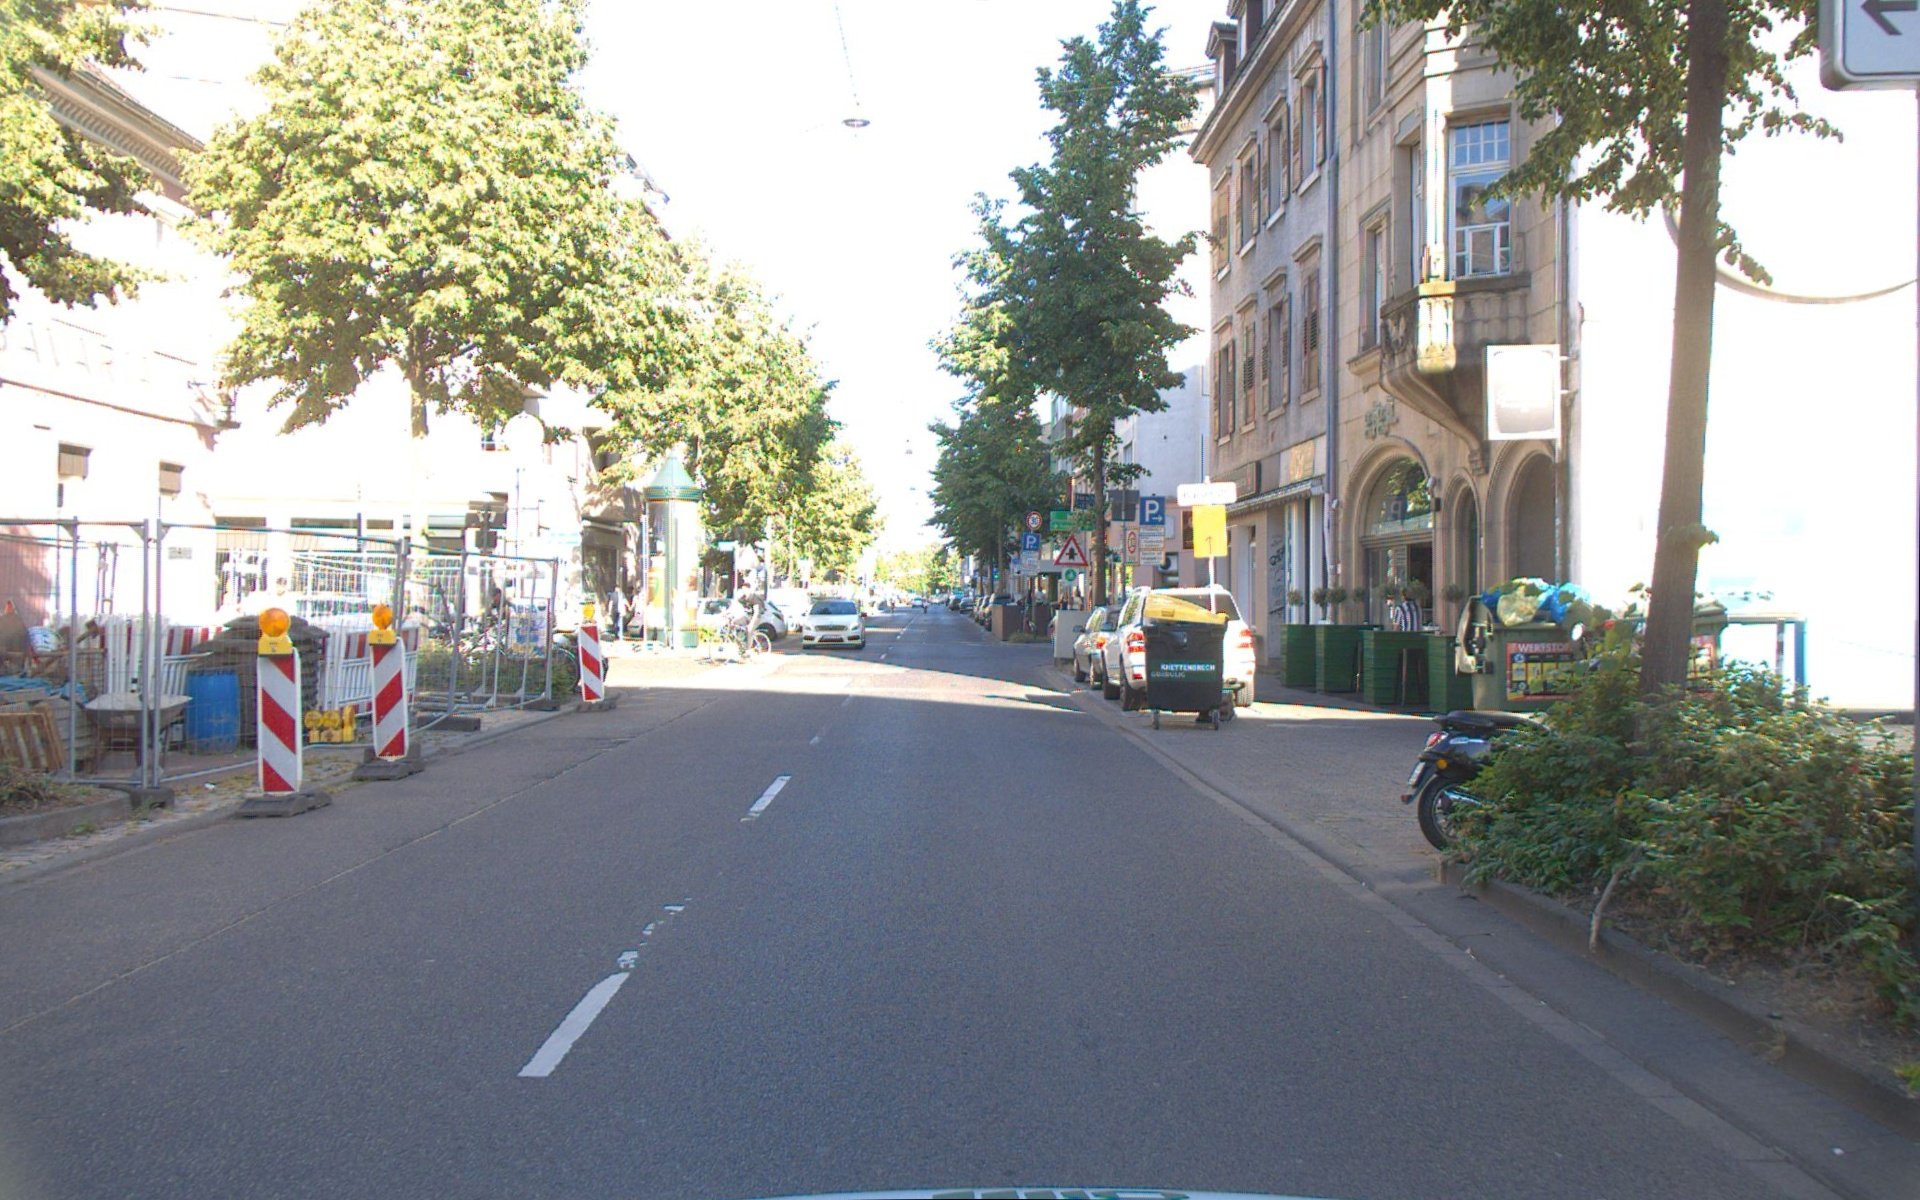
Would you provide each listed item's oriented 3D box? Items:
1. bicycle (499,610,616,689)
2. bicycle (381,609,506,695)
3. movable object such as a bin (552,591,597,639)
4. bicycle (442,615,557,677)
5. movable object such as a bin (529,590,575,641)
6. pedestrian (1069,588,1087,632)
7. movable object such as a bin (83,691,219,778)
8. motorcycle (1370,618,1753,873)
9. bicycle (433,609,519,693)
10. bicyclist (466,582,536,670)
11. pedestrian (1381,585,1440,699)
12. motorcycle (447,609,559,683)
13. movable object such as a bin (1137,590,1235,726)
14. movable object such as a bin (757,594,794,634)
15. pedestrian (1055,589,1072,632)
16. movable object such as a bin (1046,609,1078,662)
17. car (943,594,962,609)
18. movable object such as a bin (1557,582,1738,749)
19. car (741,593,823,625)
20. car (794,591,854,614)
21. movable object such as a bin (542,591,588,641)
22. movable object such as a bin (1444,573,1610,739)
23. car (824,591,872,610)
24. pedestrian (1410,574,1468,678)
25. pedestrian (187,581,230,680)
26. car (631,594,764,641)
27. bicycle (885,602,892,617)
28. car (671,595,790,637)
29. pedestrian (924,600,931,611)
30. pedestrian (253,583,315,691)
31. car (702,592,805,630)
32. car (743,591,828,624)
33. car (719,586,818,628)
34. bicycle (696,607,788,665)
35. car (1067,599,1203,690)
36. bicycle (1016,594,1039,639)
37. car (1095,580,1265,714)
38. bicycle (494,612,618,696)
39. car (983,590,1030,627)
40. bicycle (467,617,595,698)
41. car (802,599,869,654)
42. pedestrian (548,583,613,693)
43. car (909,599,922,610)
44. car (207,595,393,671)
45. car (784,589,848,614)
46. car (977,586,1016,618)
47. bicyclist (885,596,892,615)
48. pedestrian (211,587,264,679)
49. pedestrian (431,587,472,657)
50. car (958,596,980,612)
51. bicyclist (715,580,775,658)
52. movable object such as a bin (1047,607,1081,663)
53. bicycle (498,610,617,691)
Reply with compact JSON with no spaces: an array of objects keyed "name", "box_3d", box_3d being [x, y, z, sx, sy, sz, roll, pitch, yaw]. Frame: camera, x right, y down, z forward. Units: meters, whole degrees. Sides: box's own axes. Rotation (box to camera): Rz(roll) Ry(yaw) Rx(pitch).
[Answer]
[{"name":"bicycle","box_3d":[-6.695,0.824,27.562,1.820,1.274,0.599,1,0,-9]},{"name":"bicycle","box_3d":[-8.017,0.794,25.702,1.749,1.274,0.601,1,0,10]},{"name":"movable object such as a bin","box_3d":[-12.251,0.461,52.600,1.148,1.511,1.314,0,0,-3]},{"name":"bicycle","box_3d":[-8.484,0.829,30.512,1.941,1.077,0.756,-1,0,-45]},{"name":"movable object such as a bin","box_3d":[-12.206,0.456,49.515,1.117,1.511,1.235,0,0,-3]},{"name":"pedestrian","box_3d":[4.600,0.391,64.469,0.536,1.678,0.663,0,0,-9]},{"name":"movable object such as a bin","box_3d":[-6.740,1.111,13.822,0.615,0.627,1.077,-1,0,-1]},{"name":"motorcycle","box_3d":[3.498,0.798,9.686,1.943,1.353,0.908,0,0,-14]},{"name":"bicycle","box_3d":[-7.861,0.803,26.806,0.595,1.274,1.765,1,0,-43]},{"name":"bicyclist","box_3d":[-8.465,0.459,30.510,1.033,1.587,0.756,0,0,-44]},{"name":"pedestrian","box_3d":[6.329,0.577,23.268,0.598,1.567,0.699,-1,0,-1]},{"name":"motorcycle","box_3d":[-7.970,0.804,28.931,1.820,1.251,0.755,1,0,-13]},{"name":"movable object such as a bin","box_3d":[2.729,0.676,20.049,1.118,1.589,1.460,-1,0,7]},{"name":"movable object such as a bin","box_3d":[-7.179,0.543,64.514,1.307,1.504,1.480,0,0,-2]},{"name":"pedestrian","box_3d":[4.035,0.398,64.215,0.536,1.678,0.663,0,0,-8]},{"name":"movable object such as a bin","box_3d":[2.386,0.828,38.697,0.646,1.200,0.739,0,0,-3]},{"name":"car","box_3d":[-0.768,0.145,176.729,1.953,1.534,3.999,0,-1,-1]},{"name":"movable object such as a bin","box_3d":[6.683,0.613,16.152,1.245,1.557,1.176,-1,0,-3]},{"name":"car","box_3d":[-8.780,0.437,81.873,3.907,1.526,1.999,0,-1,-2]},{"name":"car","box_3d":[-9.069,0.157,110.496,3.907,1.526,1.999,0,0,-2]},{"name":"movable object such as a bin","box_3d":[-12.160,0.472,50.972,1.148,1.511,1.314,0,0,-3]},{"name":"movable object such as a bin","box_3d":[5.968,0.562,17.506,1.181,1.656,1.497,-1,0,-3]},{"name":"car","box_3d":[-9.386,0.023,138.442,3.907,1.526,1.999,0,0,-2]},{"name":"pedestrian","box_3d":[7.454,0.396,25.752,0.683,1.593,0.612,-1,0,-2]},{"name":"pedestrian","box_3d":[-13.839,0.555,30.465,0.644,1.791,0.653,0,0,-19]},{"name":"car","box_3d":[-8.209,0.540,52.028,3.907,1.414,1.999,0,0,-2]},{"name":"bicycle","box_3d":[-5.960,0.792,138.199,0.549,1.200,1.628,0,-1,-1]},{"name":"car","box_3d":[-7.980,0.555,57.820,3.907,1.414,1.999,0,0,-2]},{"name":"pedestrian","box_3d":[-2.988,0.526,151.880,0.534,1.044,0.546,-1,0,-3]},{"name":"pedestrian","box_3d":[-10.694,0.574,26.181,0.598,1.682,0.813,-1,0,2]},{"name":"car","box_3d":[-8.456,0.440,67.924,3.903,1.482,1.869,0,0,3]},{"name":"car","box_3d":[-8.349,0.353,79.543,3.907,1.526,1.999,0,0,-2]},{"name":"car","box_3d":[-8.155,0.297,70.730,3.903,1.724,2.001,0,0,3]},{"name":"bicycle","box_3d":[-4.875,0.790,37.067,2.017,1.241,0.711,0,0,-41]},{"name":"car","box_3d":[3.047,0.735,29.650,1.785,1.415,4.299,-3,0,-2]},{"name":"bicycle","box_3d":[2.275,0.551,56.163,0.549,1.465,1.628,-6,0,-1]},{"name":"car","box_3d":[3.122,0.613,24.332,1.785,1.708,4.600,-3,0,-1]},{"name":"bicycle","box_3d":[-6.312,0.845,25.915,1.820,1.274,0.599,1,0,-9]},{"name":"car","box_3d":[2.100,0.374,75.826,1.953,1.637,3.999,0,0,-1]},{"name":"bicycle","box_3d":[-6.526,0.878,25.237,1.820,1.191,0.599,1,0,-9]},{"name":"car","box_3d":[-3.681,0.759,49.585,1.766,1.460,4.408,-3,0,-2]},{"name":"pedestrian","box_3d":[-6.110,0.601,26.595,0.785,1.737,0.758,1,0,-34]},{"name":"car","box_3d":[-6.061,0.566,224.471,1.756,1.436,3.999,0,0,-1]},{"name":"car","box_3d":[-15.454,0.736,38.834,3.932,1.639,1.987,-1,0,-22]},{"name":"car","box_3d":[-9.031,0.105,104.251,3.907,1.526,1.999,0,0,-2]},{"name":"car","box_3d":[1.946,0.091,89.197,1.953,1.637,3.999,0,0,-1]},{"name":"bicyclist","box_3d":[-5.967,0.430,138.217,0.549,1.575,0.728,0,-1,-1]},{"name":"pedestrian","box_3d":[-13.499,0.610,30.921,0.641,1.697,0.656,0,0,9]},{"name":"pedestrian","box_3d":[-12.295,0.526,39.997,0.755,1.671,0.690,0,0,4]},{"name":"car","box_3d":[0.831,0.404,157.177,1.953,1.534,3.999,0,-1,-1]},{"name":"bicyclist","box_3d":[-4.825,0.407,37.110,1.147,1.722,0.711,0,0,-41]},{"name":"movable object such as a bin","box_3d":[2.381,0.798,37.955,0.691,1.244,0.680,0,0,-3]},{"name":"bicycle","box_3d":[-6.536,0.815,26.924,1.820,1.274,0.599,1,0,-9]}]
